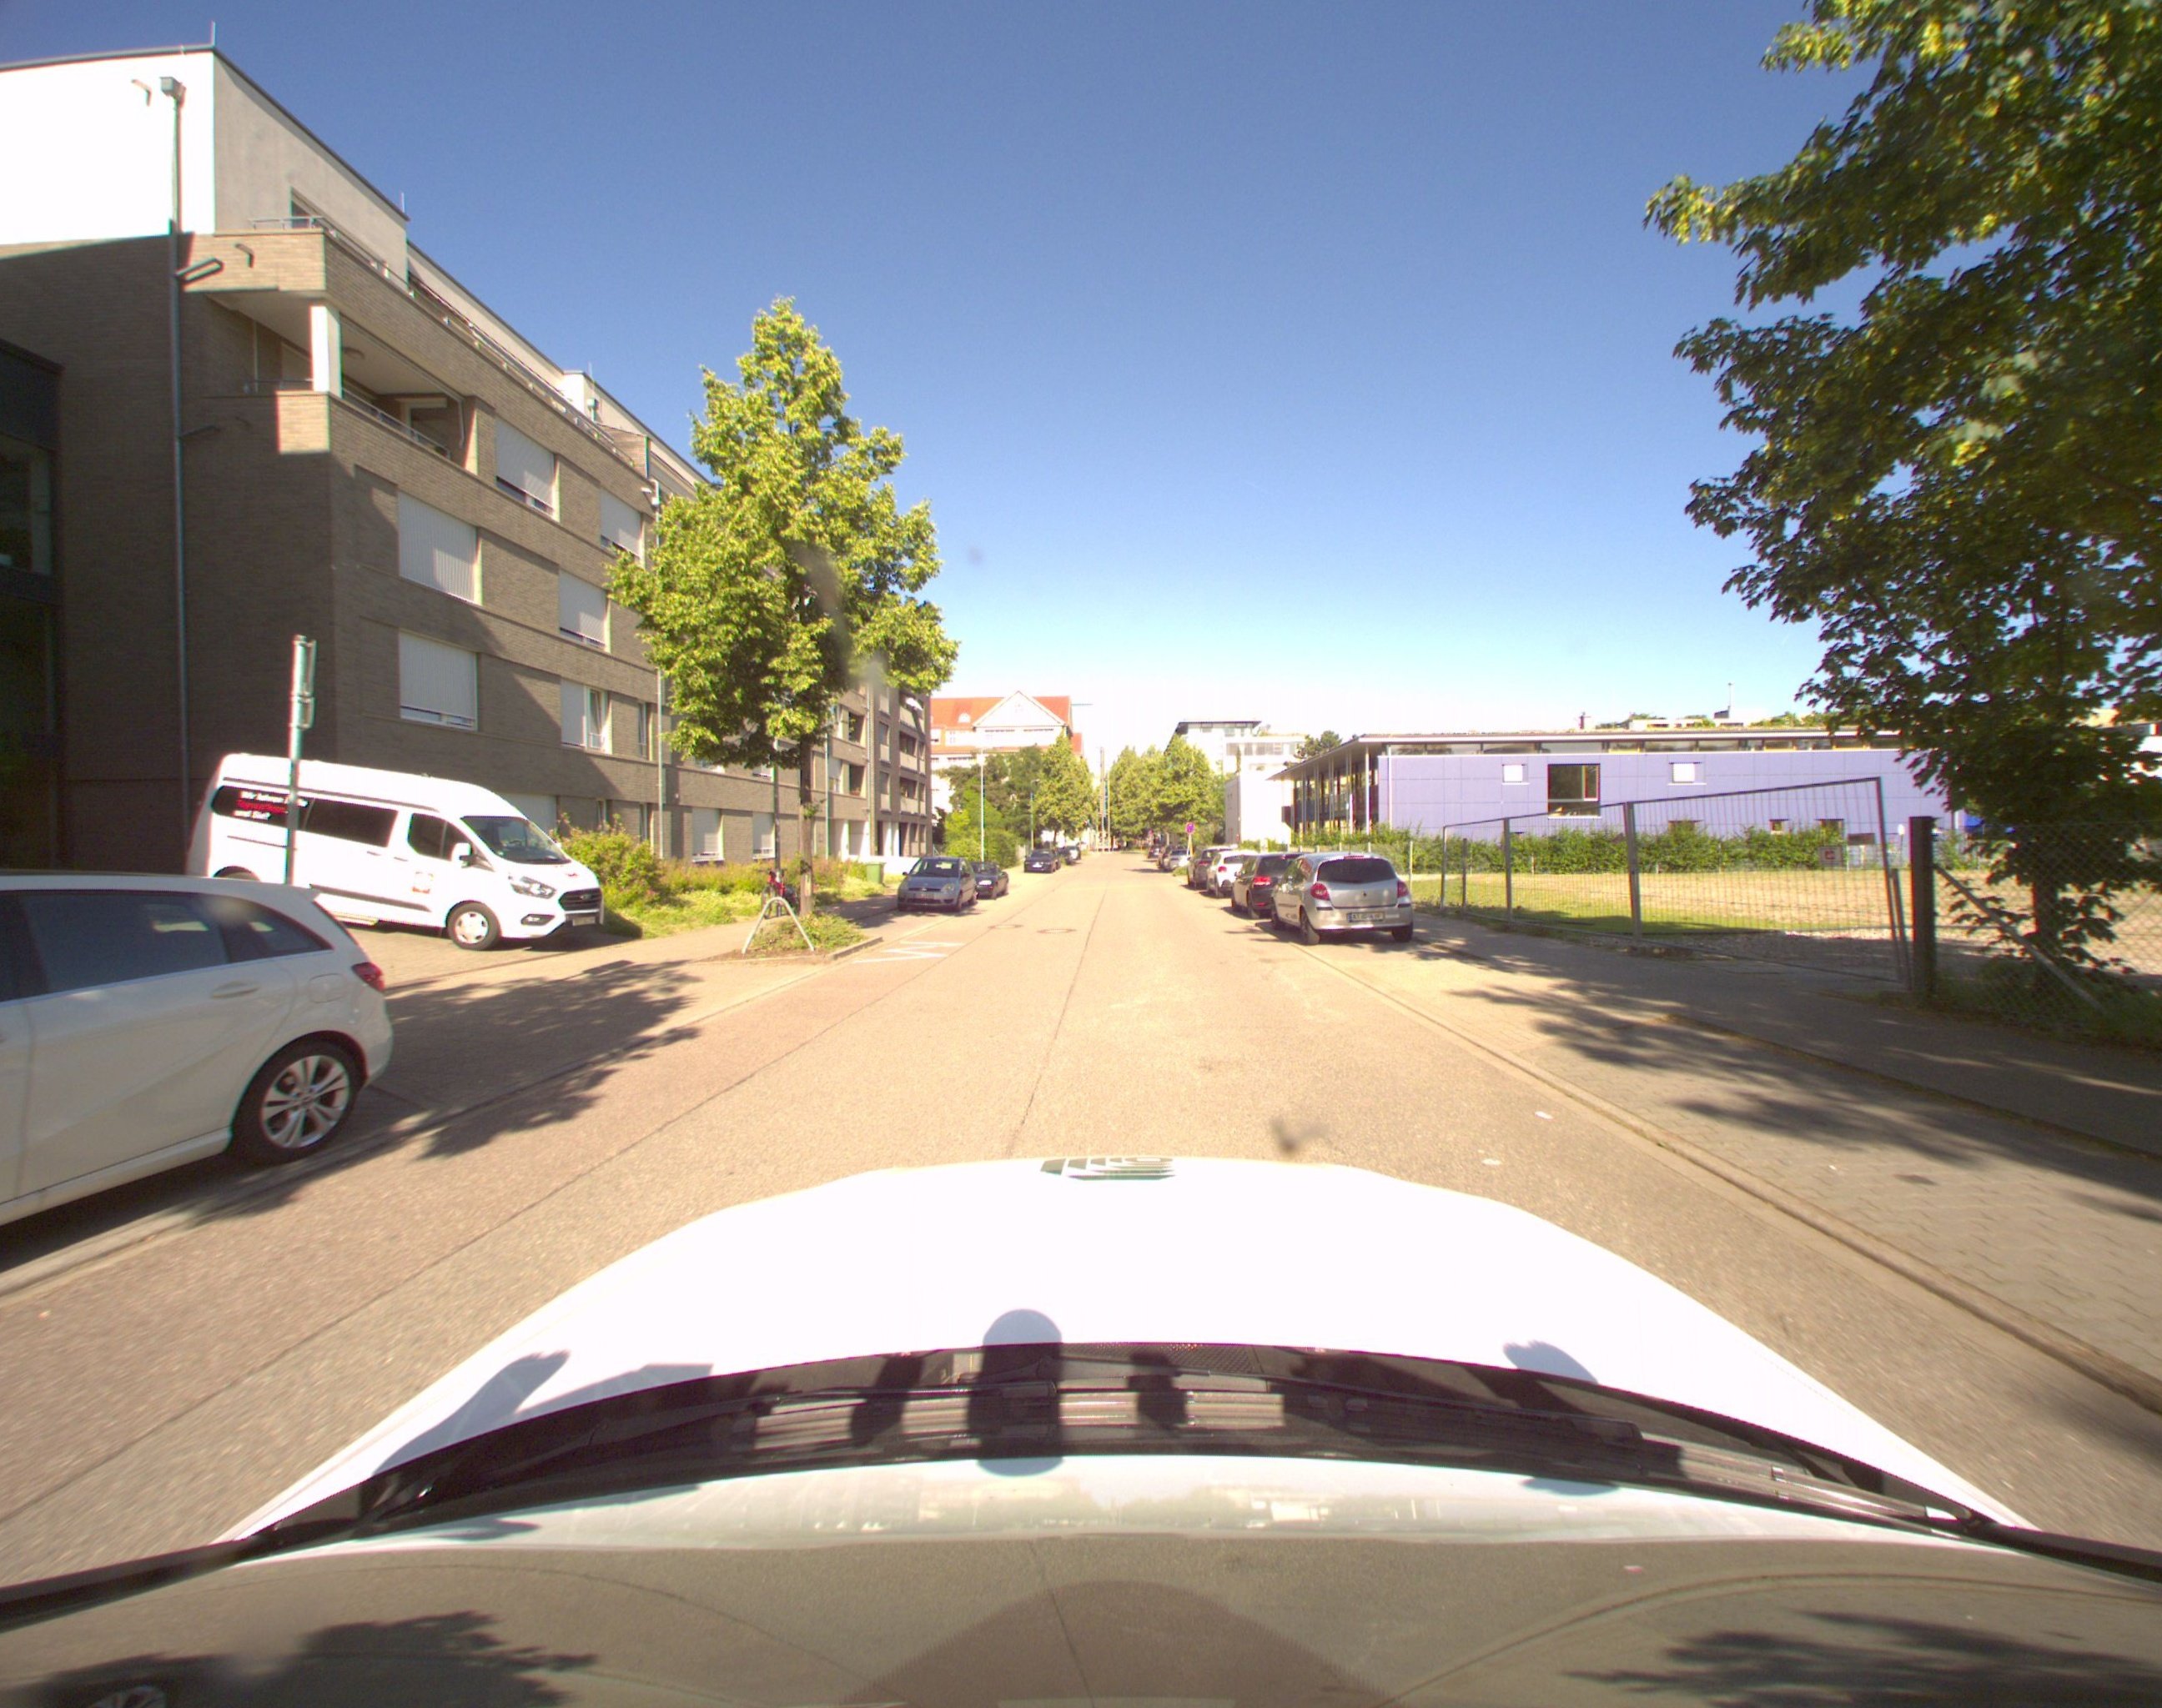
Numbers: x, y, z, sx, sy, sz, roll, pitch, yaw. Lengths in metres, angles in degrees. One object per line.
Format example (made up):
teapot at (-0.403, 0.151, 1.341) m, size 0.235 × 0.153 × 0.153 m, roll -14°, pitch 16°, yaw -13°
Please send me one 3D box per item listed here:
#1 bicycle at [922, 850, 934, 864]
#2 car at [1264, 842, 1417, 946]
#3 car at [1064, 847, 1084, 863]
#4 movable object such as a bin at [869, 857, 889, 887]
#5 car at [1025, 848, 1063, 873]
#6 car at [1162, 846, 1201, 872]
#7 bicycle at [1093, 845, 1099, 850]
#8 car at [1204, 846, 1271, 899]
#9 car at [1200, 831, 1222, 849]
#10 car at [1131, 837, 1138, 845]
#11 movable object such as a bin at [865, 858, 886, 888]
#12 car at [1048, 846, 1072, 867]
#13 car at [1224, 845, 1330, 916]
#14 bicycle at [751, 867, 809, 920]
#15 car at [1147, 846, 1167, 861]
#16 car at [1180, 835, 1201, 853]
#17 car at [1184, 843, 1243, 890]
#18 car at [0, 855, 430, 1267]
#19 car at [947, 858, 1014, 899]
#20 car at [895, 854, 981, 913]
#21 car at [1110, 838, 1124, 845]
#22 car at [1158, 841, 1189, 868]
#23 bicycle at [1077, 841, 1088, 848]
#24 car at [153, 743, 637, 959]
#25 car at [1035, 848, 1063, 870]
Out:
bicycle at (-9.652, 0.192, 51.363) m, size 0.252 × 0.837 × 1.777 m, roll -1°, pitch 2°, yaw 6°
car at (4.422, 0.589, 14.472) m, size 1.655 × 1.512 × 4.004 m, roll -1°, pitch 2°, yaw 3°
car at (-0.673, 0.058, 81.091) m, size 1.770 × 1.530 × 4.003 m, roll -1°, pitch 0°, yaw 3°
movable object such as a bin at (-7.782, 0.690, 31.409) m, size 0.605 × 1.083 × 0.637 m, roll -1°, pitch 1°, yaw 1°
car at (-2.333, 0.383, 51.825) m, size 1.752 × 1.527 × 4.007 m, roll 2°, pitch 1°, yaw 6°
car at (6.217, 0.289, 50.656) m, size 1.824 × 1.422 × 4.232 m, roll -3°, pitch 0°, yaw 0°
bicycle at (2.289, -0.990, 125.461) m, size 0.375 × 0.683 × 1.069 m, roll -2°, pitch 2°, yaw -34°
car at (5.114, 0.540, 27.016) m, size 1.673 × 1.542 × 3.852 m, roll -1°, pitch 2°, yaw 3°
car at (14.899, -1.597, 93.473) m, size 1.985 × 2.013 × 4.003 m, roll -1°, pitch 1°, yaw 3°
car at (15.723, -3.785, 237.448) m, size 1.985 × 2.013 × 4.004 m, roll -1°, pitch 2°, yaw 3°
movable object such as a bin at (-7.720, 0.711, 30.571) m, size 0.605 × 1.090 × 0.637 m, roll -1°, pitch 1°, yaw 1°
car at (-1.736, 0.183, 67.695) m, size 1.687 × 1.605 × 3.945 m, roll -1°, pitch 1°, yaw 3°
car at (4.538, 0.563, 19.368) m, size 1.681 × 1.494 × 4.080 m, roll -1°, pitch 0°, yaw 2°
bicycle at (-6.942, 0.881, 18.867) m, size 0.281 × 1.124 × 1.990 m, roll 0°, pitch 1°, yaw 9°
car at (8.092, -0.064, 87.167) m, size 1.985 × 1.486 × 4.003 m, roll -1°, pitch 0°, yaw 3°
car at (12.514, -1.172, 93.498) m, size 2.015 × 2.013 × 4.003 m, roll -1°, pitch 0°, yaw 3°
car at (5.154, 0.427, 32.190) m, size 1.719 × 1.652 × 4.328 m, roll -3°, pitch 1°, yaw 2°
car at (-4.933, 0.814, 2.974) m, size 1.654 × 1.532 × 4.286 m, roll -1°, pitch 1°, yaw -1°
car at (-3.420, 0.798, 28.351) m, size 1.592 × 1.217 × 3.879 m, roll 1°, pitch 1°, yaw 4°
car at (-3.943, 0.763, 23.025) m, size 1.605 × 1.465 × 3.876 m, roll -1°, pitch 0°, yaw 2°
car at (10.481, -3.567, 236.314) m, size 3.969 × 2.013 × 2.002 m, roll -1°, pitch 1°, yaw 3°
car at (6.514, 0.009, 57.720) m, size 1.814 × 1.718 × 4.122 m, roll -3°, pitch 0°, yaw 2°
bicycle at (0.203, -1.239, 105.551) m, size 1.463 × 0.842 × 0.335 m, roll -1°, pitch 1°, yaw -2°
car at (-10.182, -0.038, 12.448) m, size 5.430 × 2.382 × 1.921 m, roll 7°, pitch 0°, yaw -1°
car at (-2.278, 0.336, 58.317) m, size 1.623 × 1.501 × 3.580 m, roll -1°, pitch 0°, yaw 3°
